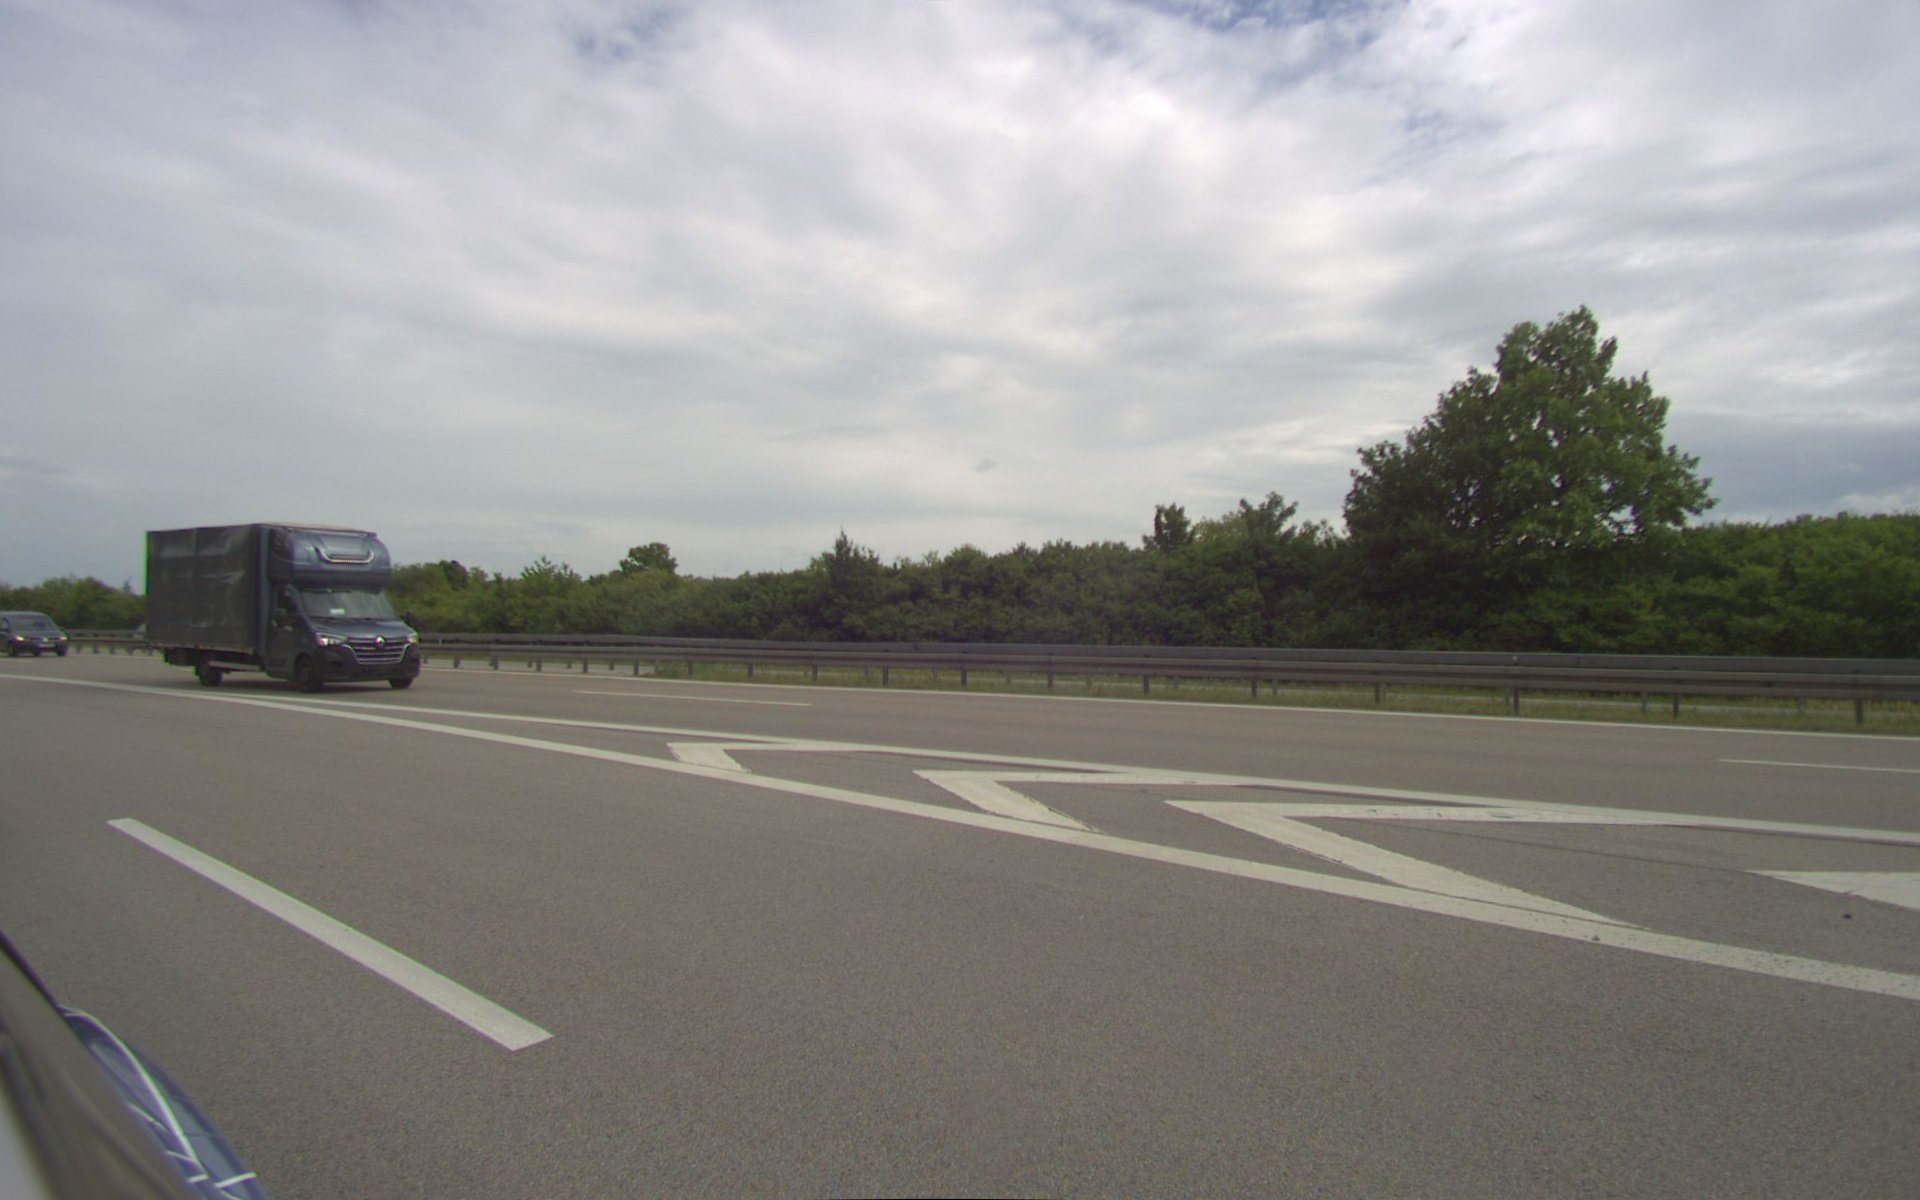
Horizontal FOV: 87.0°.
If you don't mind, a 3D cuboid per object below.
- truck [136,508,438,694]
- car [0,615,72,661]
[{"bbox_3d":[-14.527,0.156,21.612,7.899,3.397,2.448,-2,-2,33],"label":"truck"},{"bbox_3d":[-37.854,1.508,40.895,4.322,1.772,1.831,-1,-2,32],"label":"car"}]
